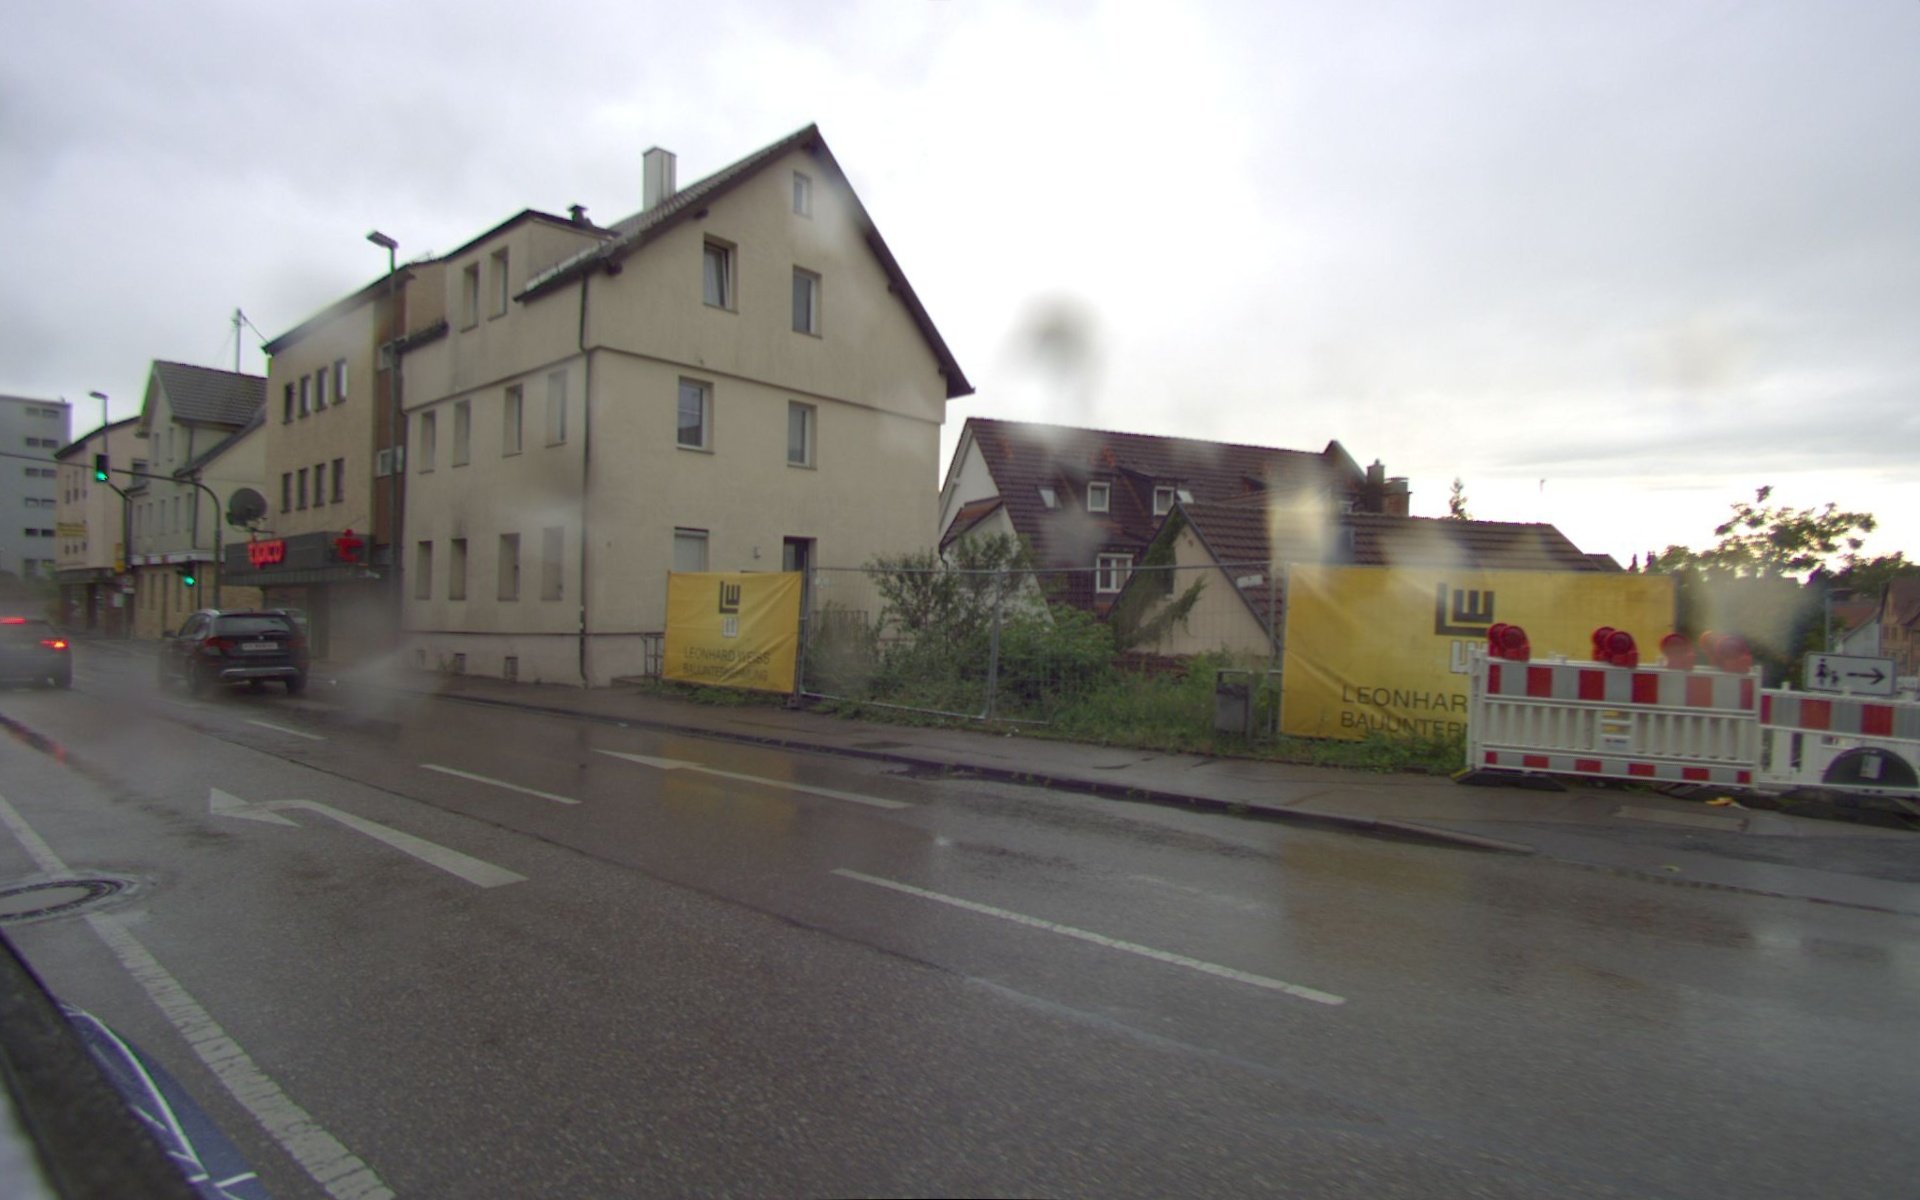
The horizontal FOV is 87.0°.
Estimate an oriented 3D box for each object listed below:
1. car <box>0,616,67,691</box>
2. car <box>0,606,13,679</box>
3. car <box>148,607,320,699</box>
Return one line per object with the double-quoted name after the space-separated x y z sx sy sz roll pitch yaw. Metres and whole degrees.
-19.174 1.020 20.084 3.667 1.394 1.689 -1 -1 41 "car"
-24.124 1.018 24.123 4.272 1.657 1.797 -2 -1 40 "car"
-13.991 0.957 19.412 4.275 1.583 1.796 -1 -2 42 "car"
